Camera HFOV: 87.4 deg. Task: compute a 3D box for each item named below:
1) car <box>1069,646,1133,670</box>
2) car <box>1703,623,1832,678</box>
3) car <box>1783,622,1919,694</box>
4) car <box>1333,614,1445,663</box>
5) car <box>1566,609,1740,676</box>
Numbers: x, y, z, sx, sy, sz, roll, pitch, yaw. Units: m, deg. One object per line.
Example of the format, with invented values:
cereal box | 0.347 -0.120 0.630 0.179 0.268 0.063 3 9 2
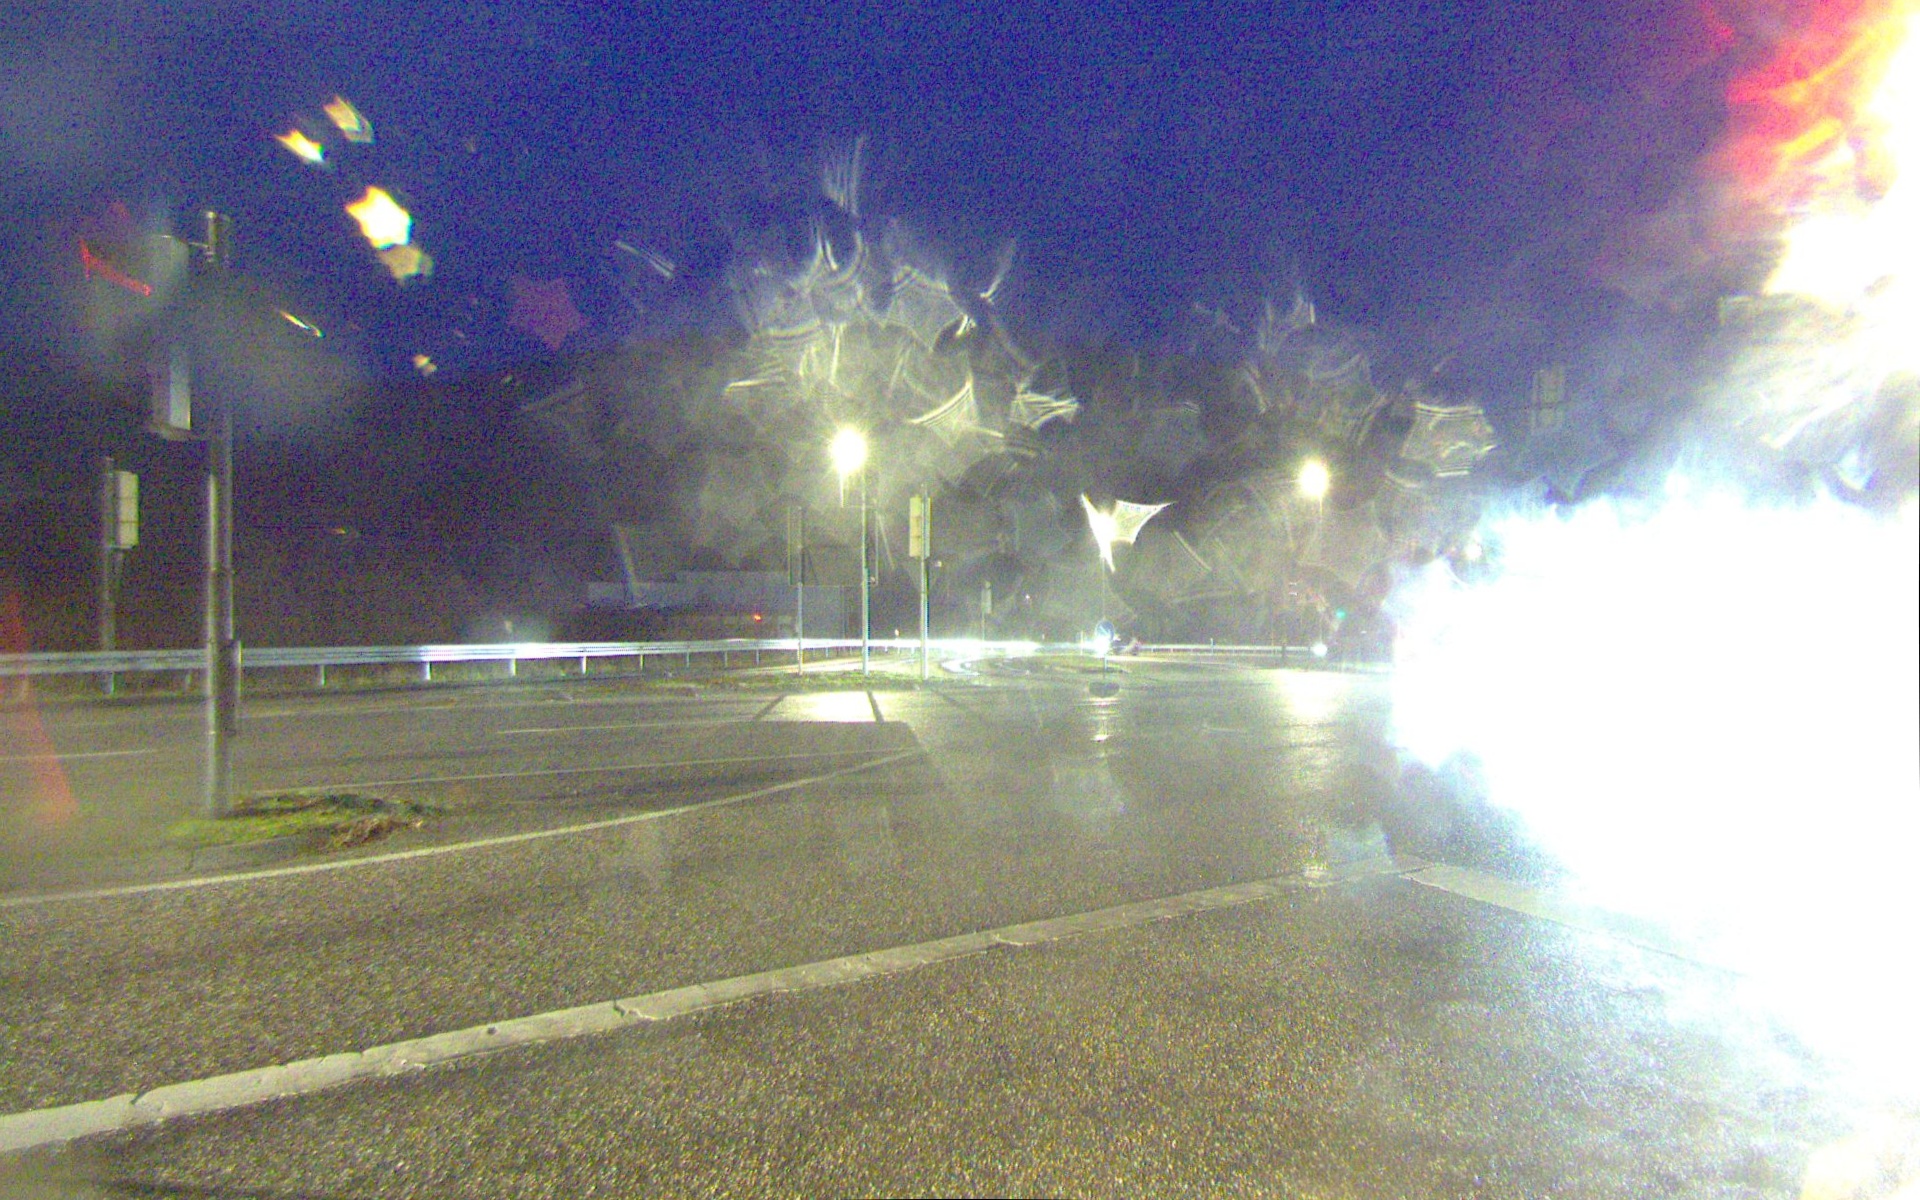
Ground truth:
car | 9.413 3.882 67.019 4.110 1.468 2.152 3 -2 -45
car | 23.293 1.466 28.955 3.683 1.473 1.660 2 -1 -29
car | 22.206 1.370 24.321 4.648 1.592 1.694 1 -1 -25
car | 17.108 1.494 40.098 3.931 1.856 1.718 0 -1 32
car | 17.824 1.070 25.783 4.856 1.592 1.784 1 -1 -30
